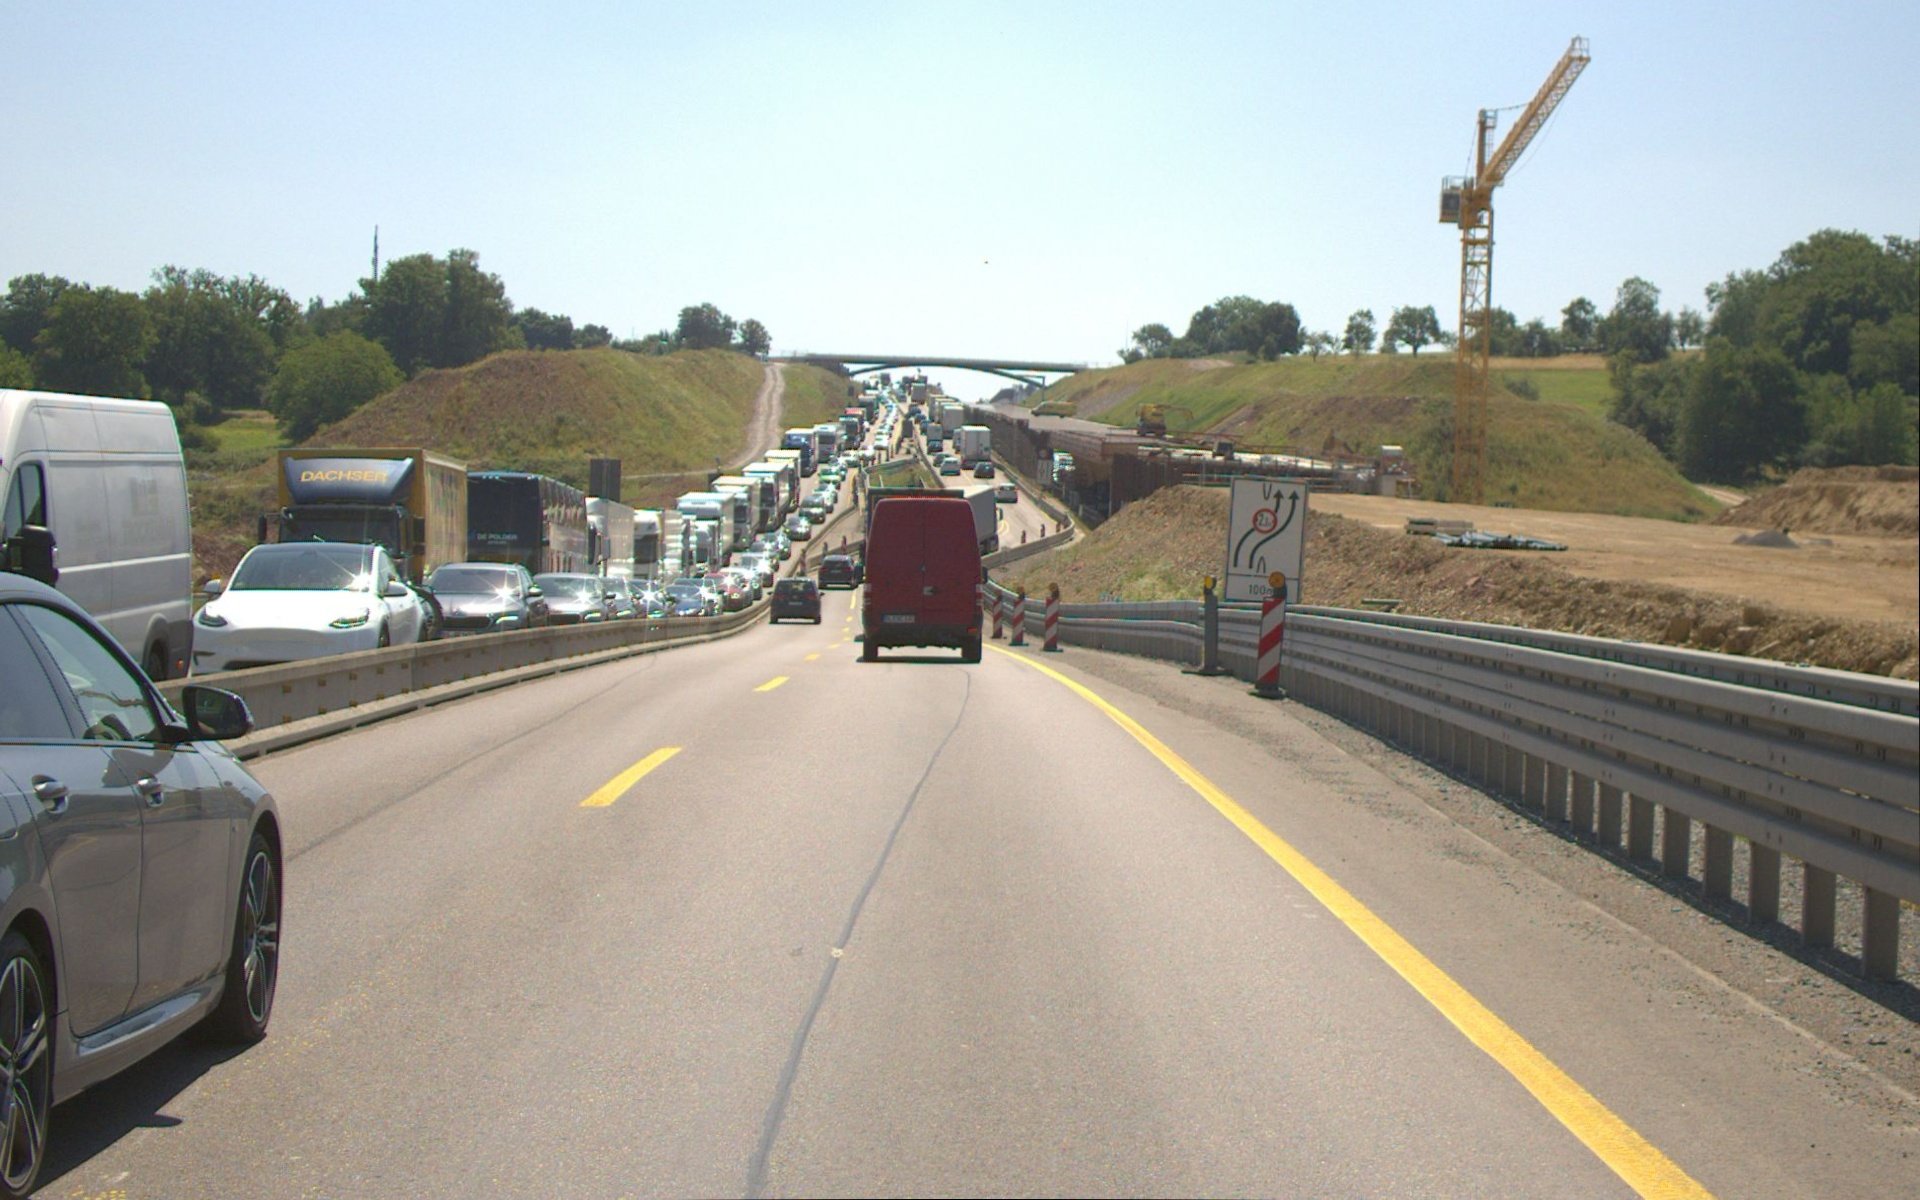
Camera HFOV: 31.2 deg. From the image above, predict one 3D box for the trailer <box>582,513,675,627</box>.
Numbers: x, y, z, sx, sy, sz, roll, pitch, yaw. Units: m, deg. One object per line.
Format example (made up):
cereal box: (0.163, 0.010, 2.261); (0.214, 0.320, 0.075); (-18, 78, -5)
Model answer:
trailer: (-12.917, -1.198, 134.942); (2.985, 4.194, 13.948); (1, 1, -3)

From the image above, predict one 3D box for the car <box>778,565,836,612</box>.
car: (-5.506, -0.433, 123.297); (2.011, 1.539, 4.133); (1, 1, -3)

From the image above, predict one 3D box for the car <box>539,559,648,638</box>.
car: (-7.631, -0.066, 71.905); (1.838, 1.438, 4.930); (2, 2, -2)

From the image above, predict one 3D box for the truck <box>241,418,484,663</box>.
truck: (-11.063, -1.100, 64.675); (2.802, 4.138, 10.080); (2, 1, -1)

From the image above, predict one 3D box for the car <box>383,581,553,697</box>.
car: (-7.225, 0.539, 50.900); (1.882, 1.427, 5.126); (2, 2, -2)

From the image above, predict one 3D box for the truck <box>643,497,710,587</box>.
truck: (-12.631, -2.613, 153.504); (2.524, 3.842, 8.672); (1, 1, -2)

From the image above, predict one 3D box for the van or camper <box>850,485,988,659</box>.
van or camper: (-0.728, -0.508, 57.261); (2.029, 2.735, 4.516); (1, 1, -3)

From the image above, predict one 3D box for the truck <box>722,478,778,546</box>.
truck: (-14.206, -5.985, 233.216); (3.052, 4.465, 5.980); (1, 2, 3)

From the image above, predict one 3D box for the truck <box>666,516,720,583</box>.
truck: (-13.092, -2.521, 168.924); (2.433, 3.137, 7.025); (0, 2, -3)

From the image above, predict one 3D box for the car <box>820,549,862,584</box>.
car: (-5.887, -1.673, 170.281); (2.012, 1.539, 4.133); (2, 2, -2)

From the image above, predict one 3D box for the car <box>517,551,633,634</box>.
car: (-7.313, -0.166, 65.655); (1.859, 1.489, 4.905); (-1, 1, -3)

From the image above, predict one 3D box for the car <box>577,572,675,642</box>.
car: (-7.833, 0.136, 81.068); (1.918, 1.418, 5.091); (2, 2, -2)

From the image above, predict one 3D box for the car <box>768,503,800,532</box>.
car: (-11.483, -5.389, 224.355); (1.993, 1.776, 4.001); (2, 2, -3)

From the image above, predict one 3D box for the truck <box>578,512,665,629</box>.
truck: (-12.519, -1.103, 127.680); (2.977, 4.170, 5.875); (1, 1, -4)

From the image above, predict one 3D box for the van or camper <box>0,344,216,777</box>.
van or camper: (-6.705, -0.343, 22.745); (2.218, 2.503, 6.534); (2, 2, -1)

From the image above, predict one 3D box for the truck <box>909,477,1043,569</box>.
truck: (1.078, -4.547, 201.461); (5.163, 4.979, 13.870); (3, 2, 11)

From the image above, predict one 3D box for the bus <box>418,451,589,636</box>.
bus: (-11.503, -1.550, 88.005); (2.739, 4.249, 14.478); (2, 2, -2)

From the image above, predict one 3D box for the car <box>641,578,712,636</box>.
car: (-8.233, 0.186, 100.314); (1.812, 1.432, 5.122); (2, 2, -2)

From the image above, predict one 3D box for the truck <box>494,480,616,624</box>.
truck: (-12.294, -1.491, 104.912); (3.097, 4.183, 6.703); (1, 1, -2)

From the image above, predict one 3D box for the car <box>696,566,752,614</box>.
car: (-9.109, -0.405, 133.012); (1.993, 1.625, 4.759); (2, 2, -2)

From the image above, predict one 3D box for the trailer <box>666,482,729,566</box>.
trailer: (-13.900, -4.056, 182.990); (2.594, 4.242, 12.469); (1, 1, -1)

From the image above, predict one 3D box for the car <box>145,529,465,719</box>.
car: (-6.918, 0.177, 37.014); (2.371, 1.720, 5.782); (2, 2, -1)

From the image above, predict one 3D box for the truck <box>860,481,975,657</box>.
truck: (-1.185, -0.921, 94.942); (3.020, 4.677, 6.933); (-1, 2, -1)

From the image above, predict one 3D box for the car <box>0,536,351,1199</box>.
car: (-2.942, 0.592, 8.720); (1.852, 1.447, 4.742); (2, 2, 1)
